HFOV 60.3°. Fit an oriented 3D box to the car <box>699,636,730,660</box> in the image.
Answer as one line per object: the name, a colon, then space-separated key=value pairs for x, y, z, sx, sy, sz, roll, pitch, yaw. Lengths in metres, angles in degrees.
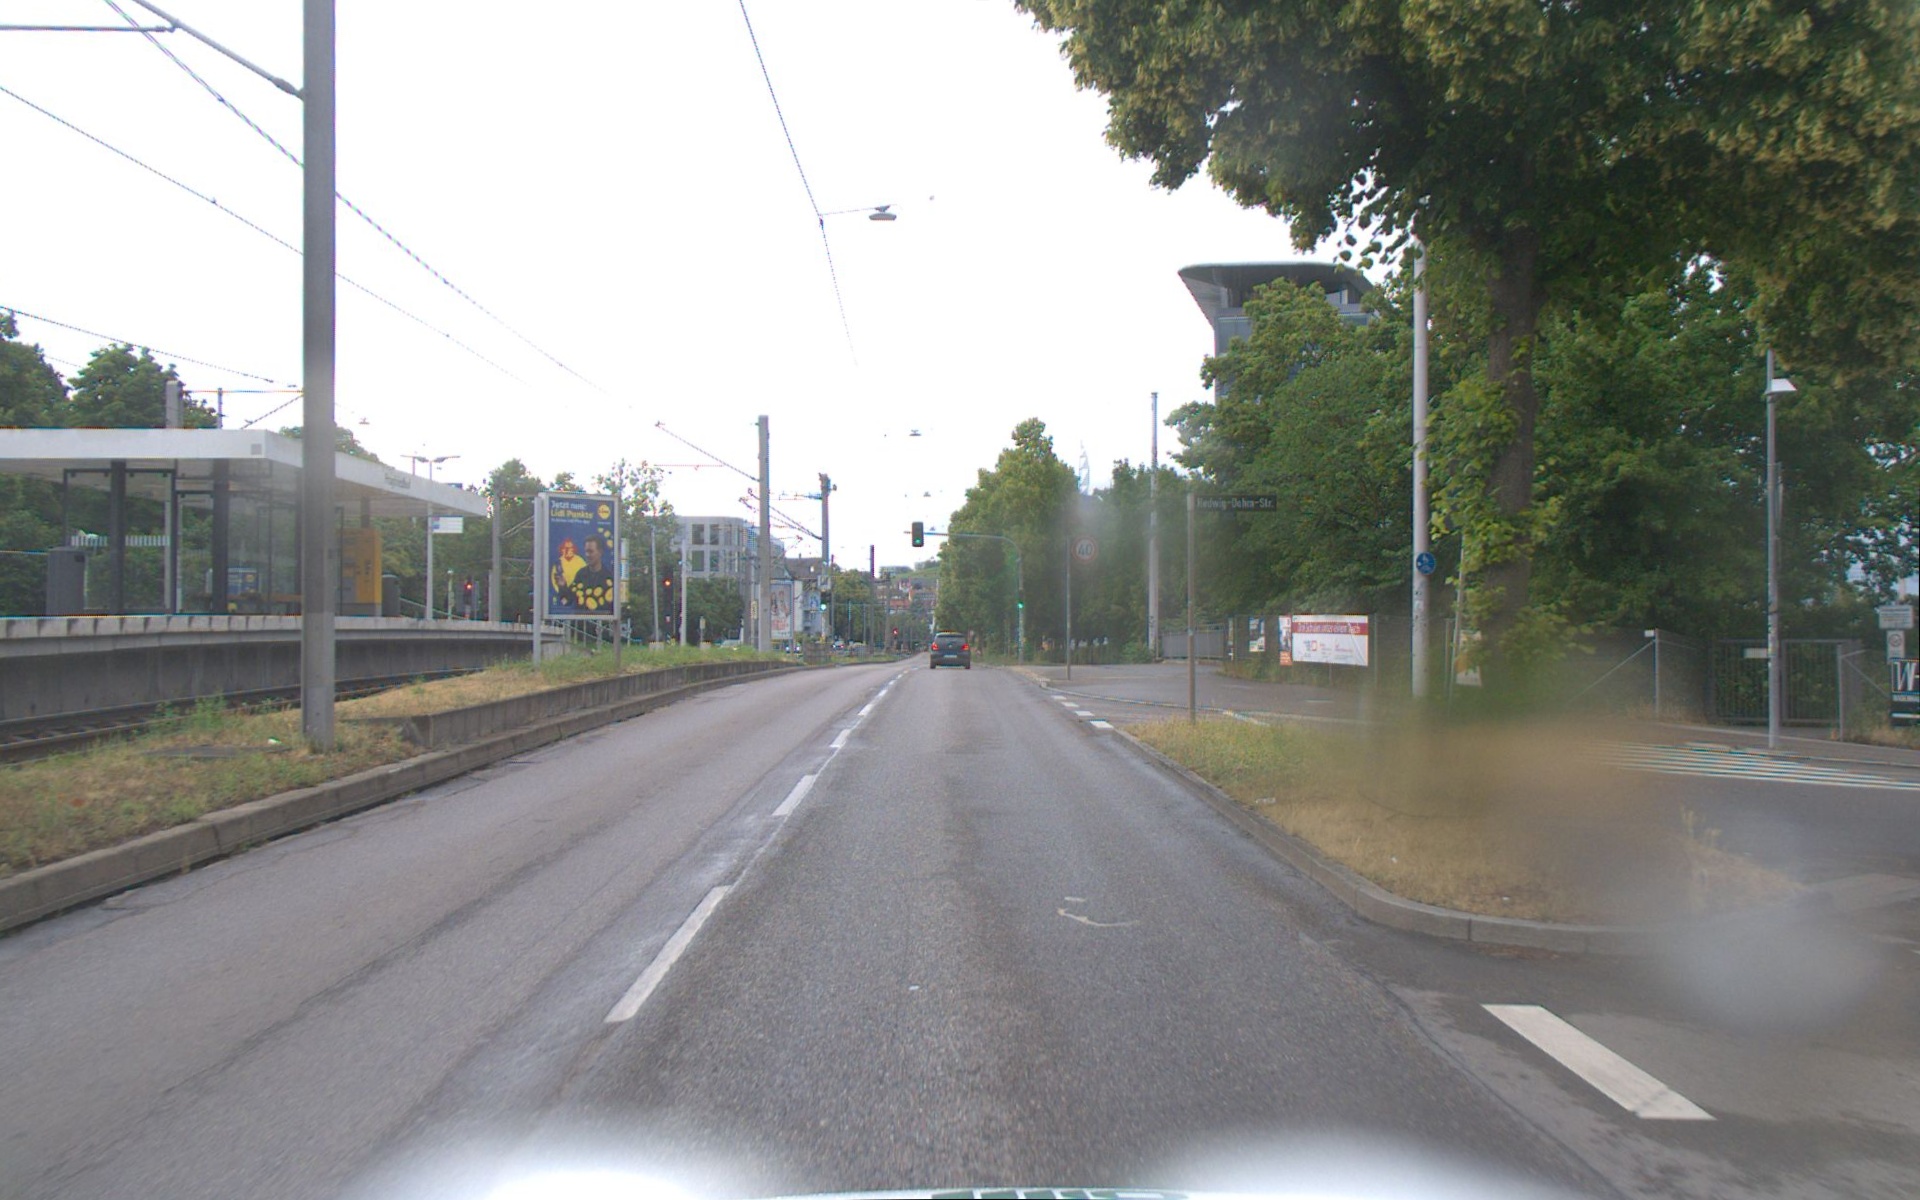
car: x=-19.262 y=3.748 z=129.946 sx=1.632 sy=1.660 sz=3.305 roll=3 pitch=0 yaw=4

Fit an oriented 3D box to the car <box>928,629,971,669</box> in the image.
car: x=-0.441 y=1.966 z=66.998 sx=1.691 sy=1.568 sz=3.999 roll=0 pitch=-2 yaw=-1

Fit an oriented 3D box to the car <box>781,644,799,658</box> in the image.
car: x=-22.883 y=6.904 z=223.008 sx=1.811 sy=1.660 sz=3.611 roll=3 pitch=0 yaw=4
